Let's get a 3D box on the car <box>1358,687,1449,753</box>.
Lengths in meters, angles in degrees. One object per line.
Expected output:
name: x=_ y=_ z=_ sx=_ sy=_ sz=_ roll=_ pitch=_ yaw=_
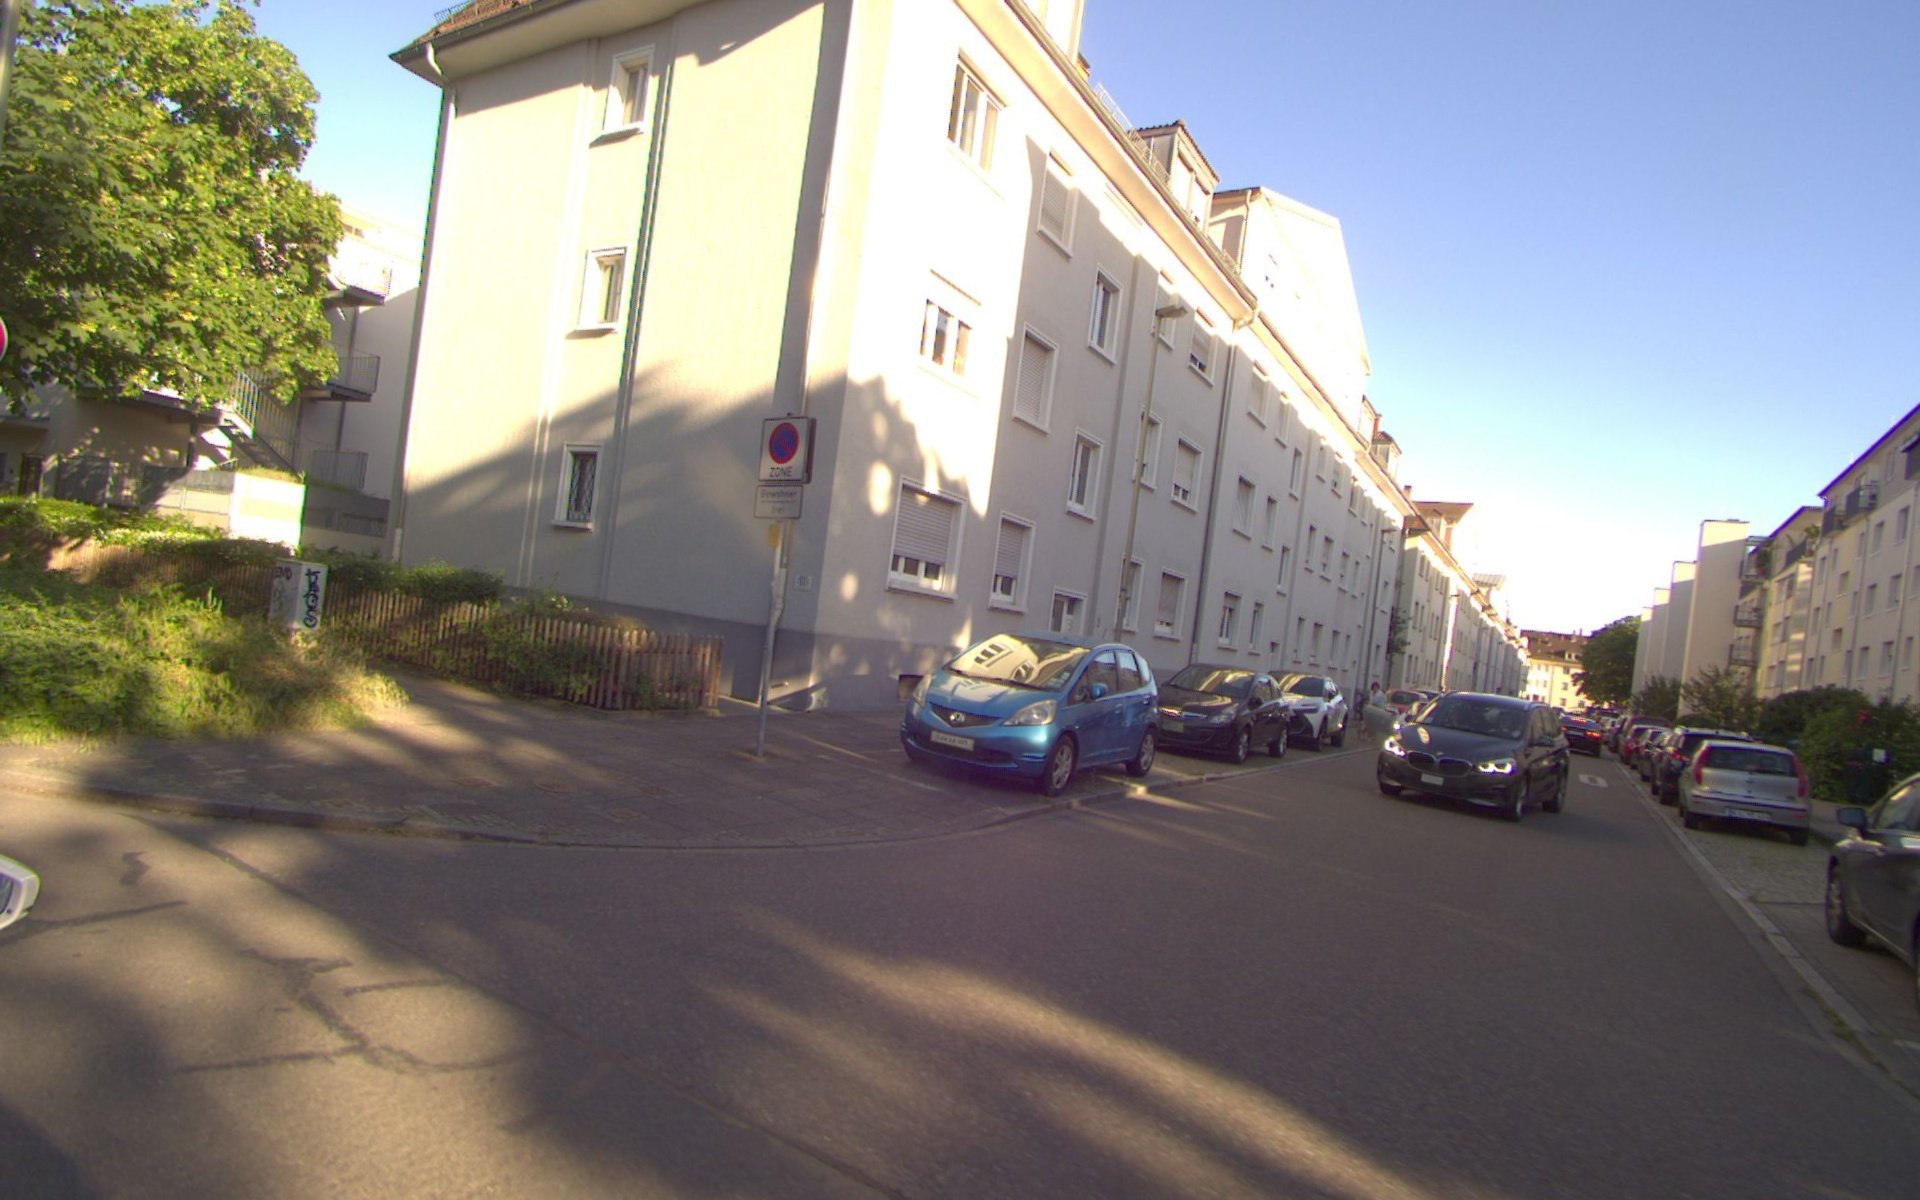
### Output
car: x=11.638 y=3.113 z=26.275 sx=1.684 sy=1.367 sz=3.796 roll=7 pitch=-2 yaw=30

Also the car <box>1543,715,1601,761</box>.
car: x=23.942 y=5.366 z=39.361 sx=1.721 sy=1.407 sz=3.498 roll=8 pitch=-2 yaw=32

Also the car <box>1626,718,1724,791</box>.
car: x=21.939 y=4.690 z=31.011 sx=1.867 sy=1.686 sz=3.772 roll=9 pitch=0 yaw=30

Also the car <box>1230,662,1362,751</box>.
car: x=7.355 y=2.322 z=21.765 sx=1.705 sy=1.515 sz=4.023 roll=7 pitch=-2 yaw=31

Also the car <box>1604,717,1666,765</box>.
car: x=30.863 y=6.424 z=46.103 sx=1.867 sy=1.686 sz=3.772 roll=9 pitch=0 yaw=30

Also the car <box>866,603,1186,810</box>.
car: x=0.925 y=1.106 z=11.000 sx=1.779 sy=1.600 sz=3.996 roll=9 pitch=0 yaw=29

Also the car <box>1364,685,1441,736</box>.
car: x=15.428 y=3.876 z=34.959 sx=1.676 sy=1.420 sz=3.994 roll=7 pitch=-2 yaw=33

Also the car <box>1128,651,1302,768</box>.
car: x=4.363 y=1.827 z=16.820 sx=1.621 sy=1.515 sz=3.832 roll=7 pitch=-2 yaw=31

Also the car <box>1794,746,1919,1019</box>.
car: x=7.075 y=1.894 z=6.590 sx=1.698 sy=1.531 sz=4.050 roll=6 pitch=-3 yaw=30

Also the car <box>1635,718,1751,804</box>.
car: x=19.275 y=4.171 z=26.623 sx=1.867 sy=1.686 sz=3.772 roll=9 pitch=0 yaw=30

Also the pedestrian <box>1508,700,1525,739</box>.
pedestrian: x=30.110 y=6.463 z=54.416 sx=0.545 sy=2.037 sz=0.809 roll=8 pitch=-1 yaw=31

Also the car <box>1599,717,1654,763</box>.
car: x=35.571 y=7.446 z=53.763 sx=1.966 sy=2.036 sz=3.997 roll=7 pitch=-2 yaw=30

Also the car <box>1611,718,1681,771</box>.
car: x=28.266 y=5.925 z=41.537 sx=1.867 sy=1.686 sz=3.772 roll=9 pitch=0 yaw=30

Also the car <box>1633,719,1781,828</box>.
car: x=15.737 y=3.582 z=21.412 sx=1.867 sy=1.686 sz=3.772 roll=9 pitch=0 yaw=30

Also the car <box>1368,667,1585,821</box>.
car: x=7.637 y=2.110 z=14.656 sx=1.744 sy=1.692 sz=4.265 roll=7 pitch=-3 yaw=41

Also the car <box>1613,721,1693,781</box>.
car: x=25.328 y=5.468 z=36.871 sx=1.867 sy=1.686 sz=3.772 roll=9 pitch=0 yaw=30

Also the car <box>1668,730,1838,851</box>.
car: x=13.290 y=3.115 z=17.061 sx=1.721 sy=1.511 sz=3.498 roll=8 pitch=-2 yaw=32
